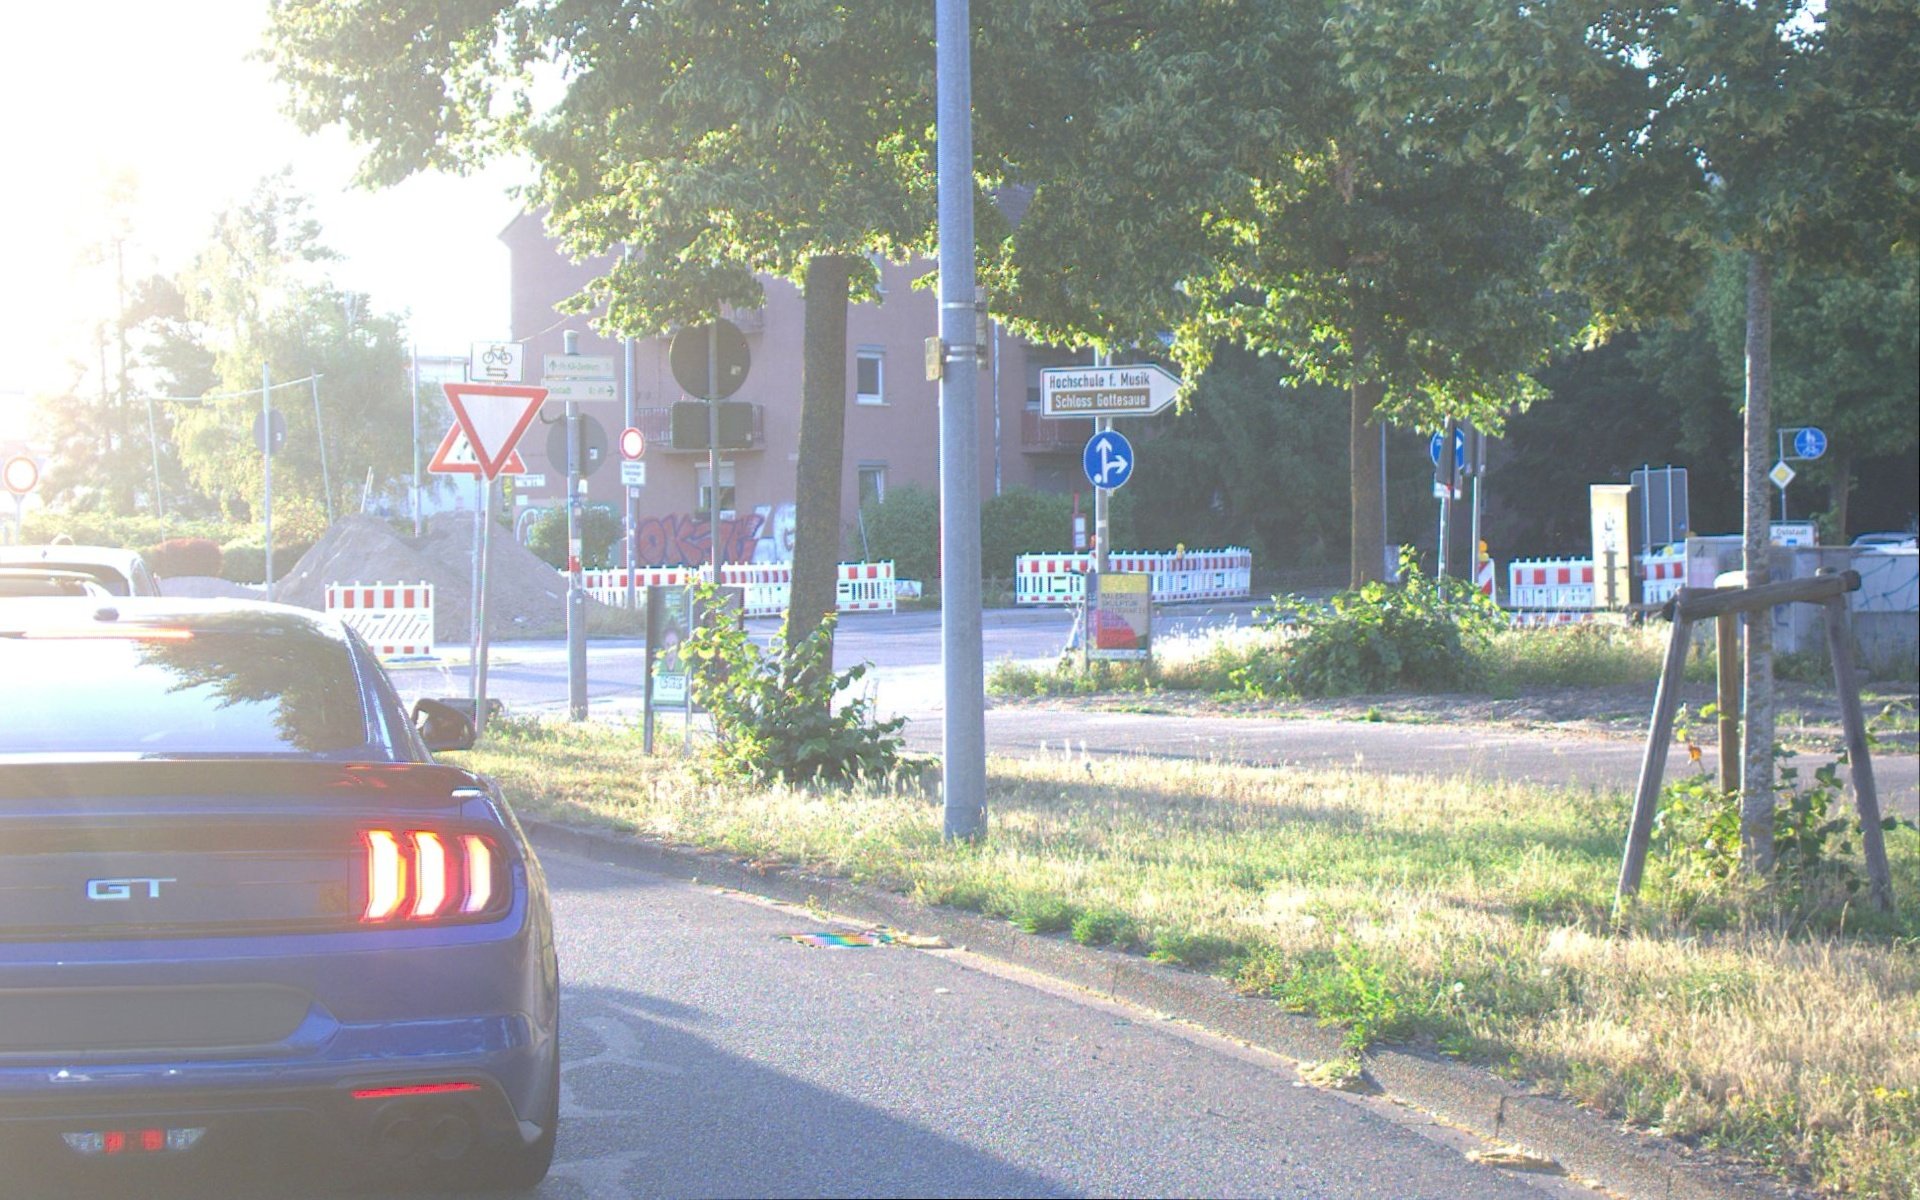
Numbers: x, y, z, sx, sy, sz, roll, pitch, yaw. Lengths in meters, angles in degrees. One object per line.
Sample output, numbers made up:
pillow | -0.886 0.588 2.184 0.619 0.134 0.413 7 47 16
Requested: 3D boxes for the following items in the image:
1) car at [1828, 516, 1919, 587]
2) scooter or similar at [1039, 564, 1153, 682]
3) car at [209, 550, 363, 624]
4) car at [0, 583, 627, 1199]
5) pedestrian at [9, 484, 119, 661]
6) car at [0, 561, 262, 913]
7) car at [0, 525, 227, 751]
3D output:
car | 21.756 -1.132 79.659 1.955 1.597 4.070 1 1 33
scooter or similar | 1.440 0.237 36.417 1.119 1.234 0.442 -1 1 -16
car | -16.056 -0.325 81.795 1.994 1.700 3.999 -1 1 -38
car | -2.229 0.647 8.656 1.950 1.337 4.672 0 1 -16
pedestrian | -8.656 -0.273 33.217 0.843 1.680 0.887 -1 1 -27
car | -4.810 0.551 16.550 1.951 1.422 4.431 1 1 -23
car | -6.864 0.239 26.480 1.951 1.597 4.078 -1 1 -6
